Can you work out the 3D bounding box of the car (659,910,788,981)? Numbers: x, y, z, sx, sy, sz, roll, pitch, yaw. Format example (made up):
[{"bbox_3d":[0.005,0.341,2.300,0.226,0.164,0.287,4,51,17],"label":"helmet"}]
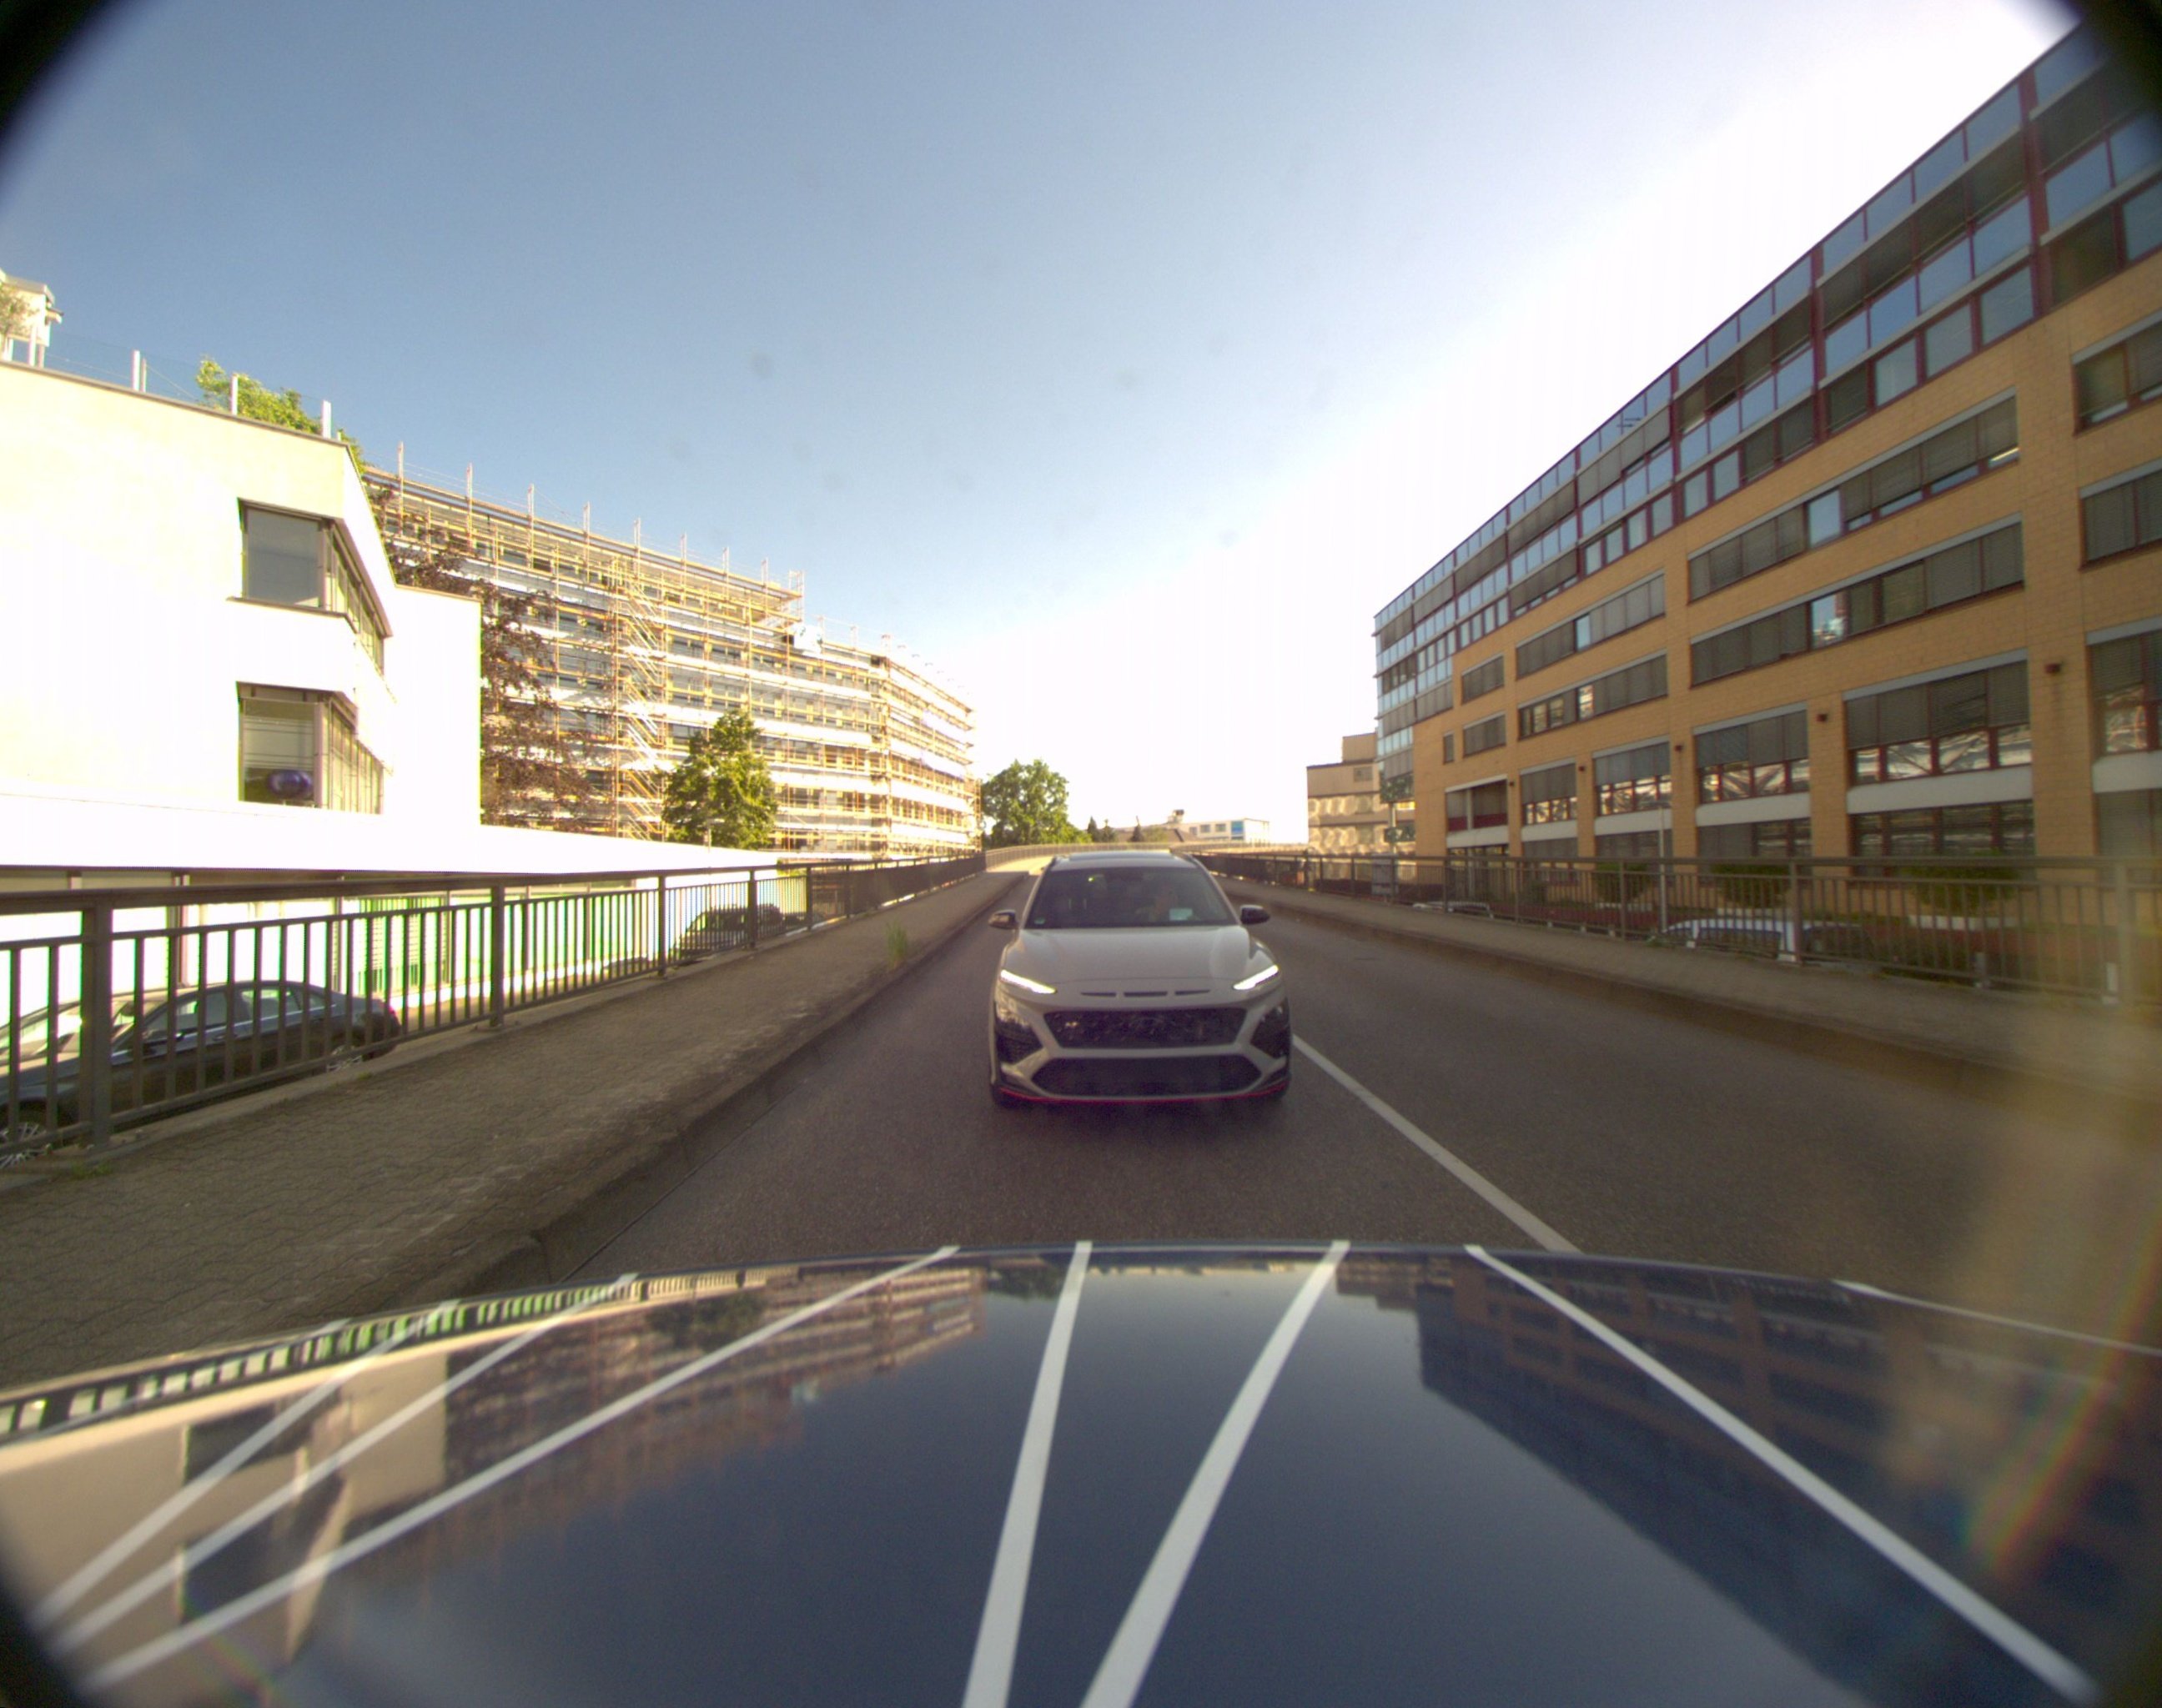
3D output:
[{"bbox_3d":[-9.911,2.477,21.421,1.726,1.513,4.000,-2,-1,-1],"label":"car"}]

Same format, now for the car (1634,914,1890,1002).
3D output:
[{"bbox_3d":[13.045,1.938,14.913,1.580,1.261,3.809,0,-1,-1],"label":"car"}]

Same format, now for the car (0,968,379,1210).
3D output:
[{"bbox_3d":[-9.600,2.172,7.410,1.726,1.513,4.001,-2,-1,1],"label":"car"}]

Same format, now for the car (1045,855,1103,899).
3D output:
[{"bbox_3d":[-0.278,0.767,27.082,1.902,1.433,4.126,0,0,-1],"label":"car"}]

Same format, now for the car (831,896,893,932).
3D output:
[{"bbox_3d":[-10.214,2.780,35.670,1.726,1.383,4.000,-2,-1,-1],"label":"car"}]

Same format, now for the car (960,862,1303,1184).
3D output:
[{"bbox_3d":[0.284,0.889,5.885,1.749,1.637,4.001,0,-1,1],"label":"car"}]

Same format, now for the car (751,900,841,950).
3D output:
[{"bbox_3d":[-10.092,2.485,27.210,1.726,1.383,4.000,-2,-1,-1],"label":"car"}]

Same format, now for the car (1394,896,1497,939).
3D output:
[{"bbox_3d":[12.739,2.194,26.821,1.766,1.261,3.809,0,-1,-1],"label":"car"}]
